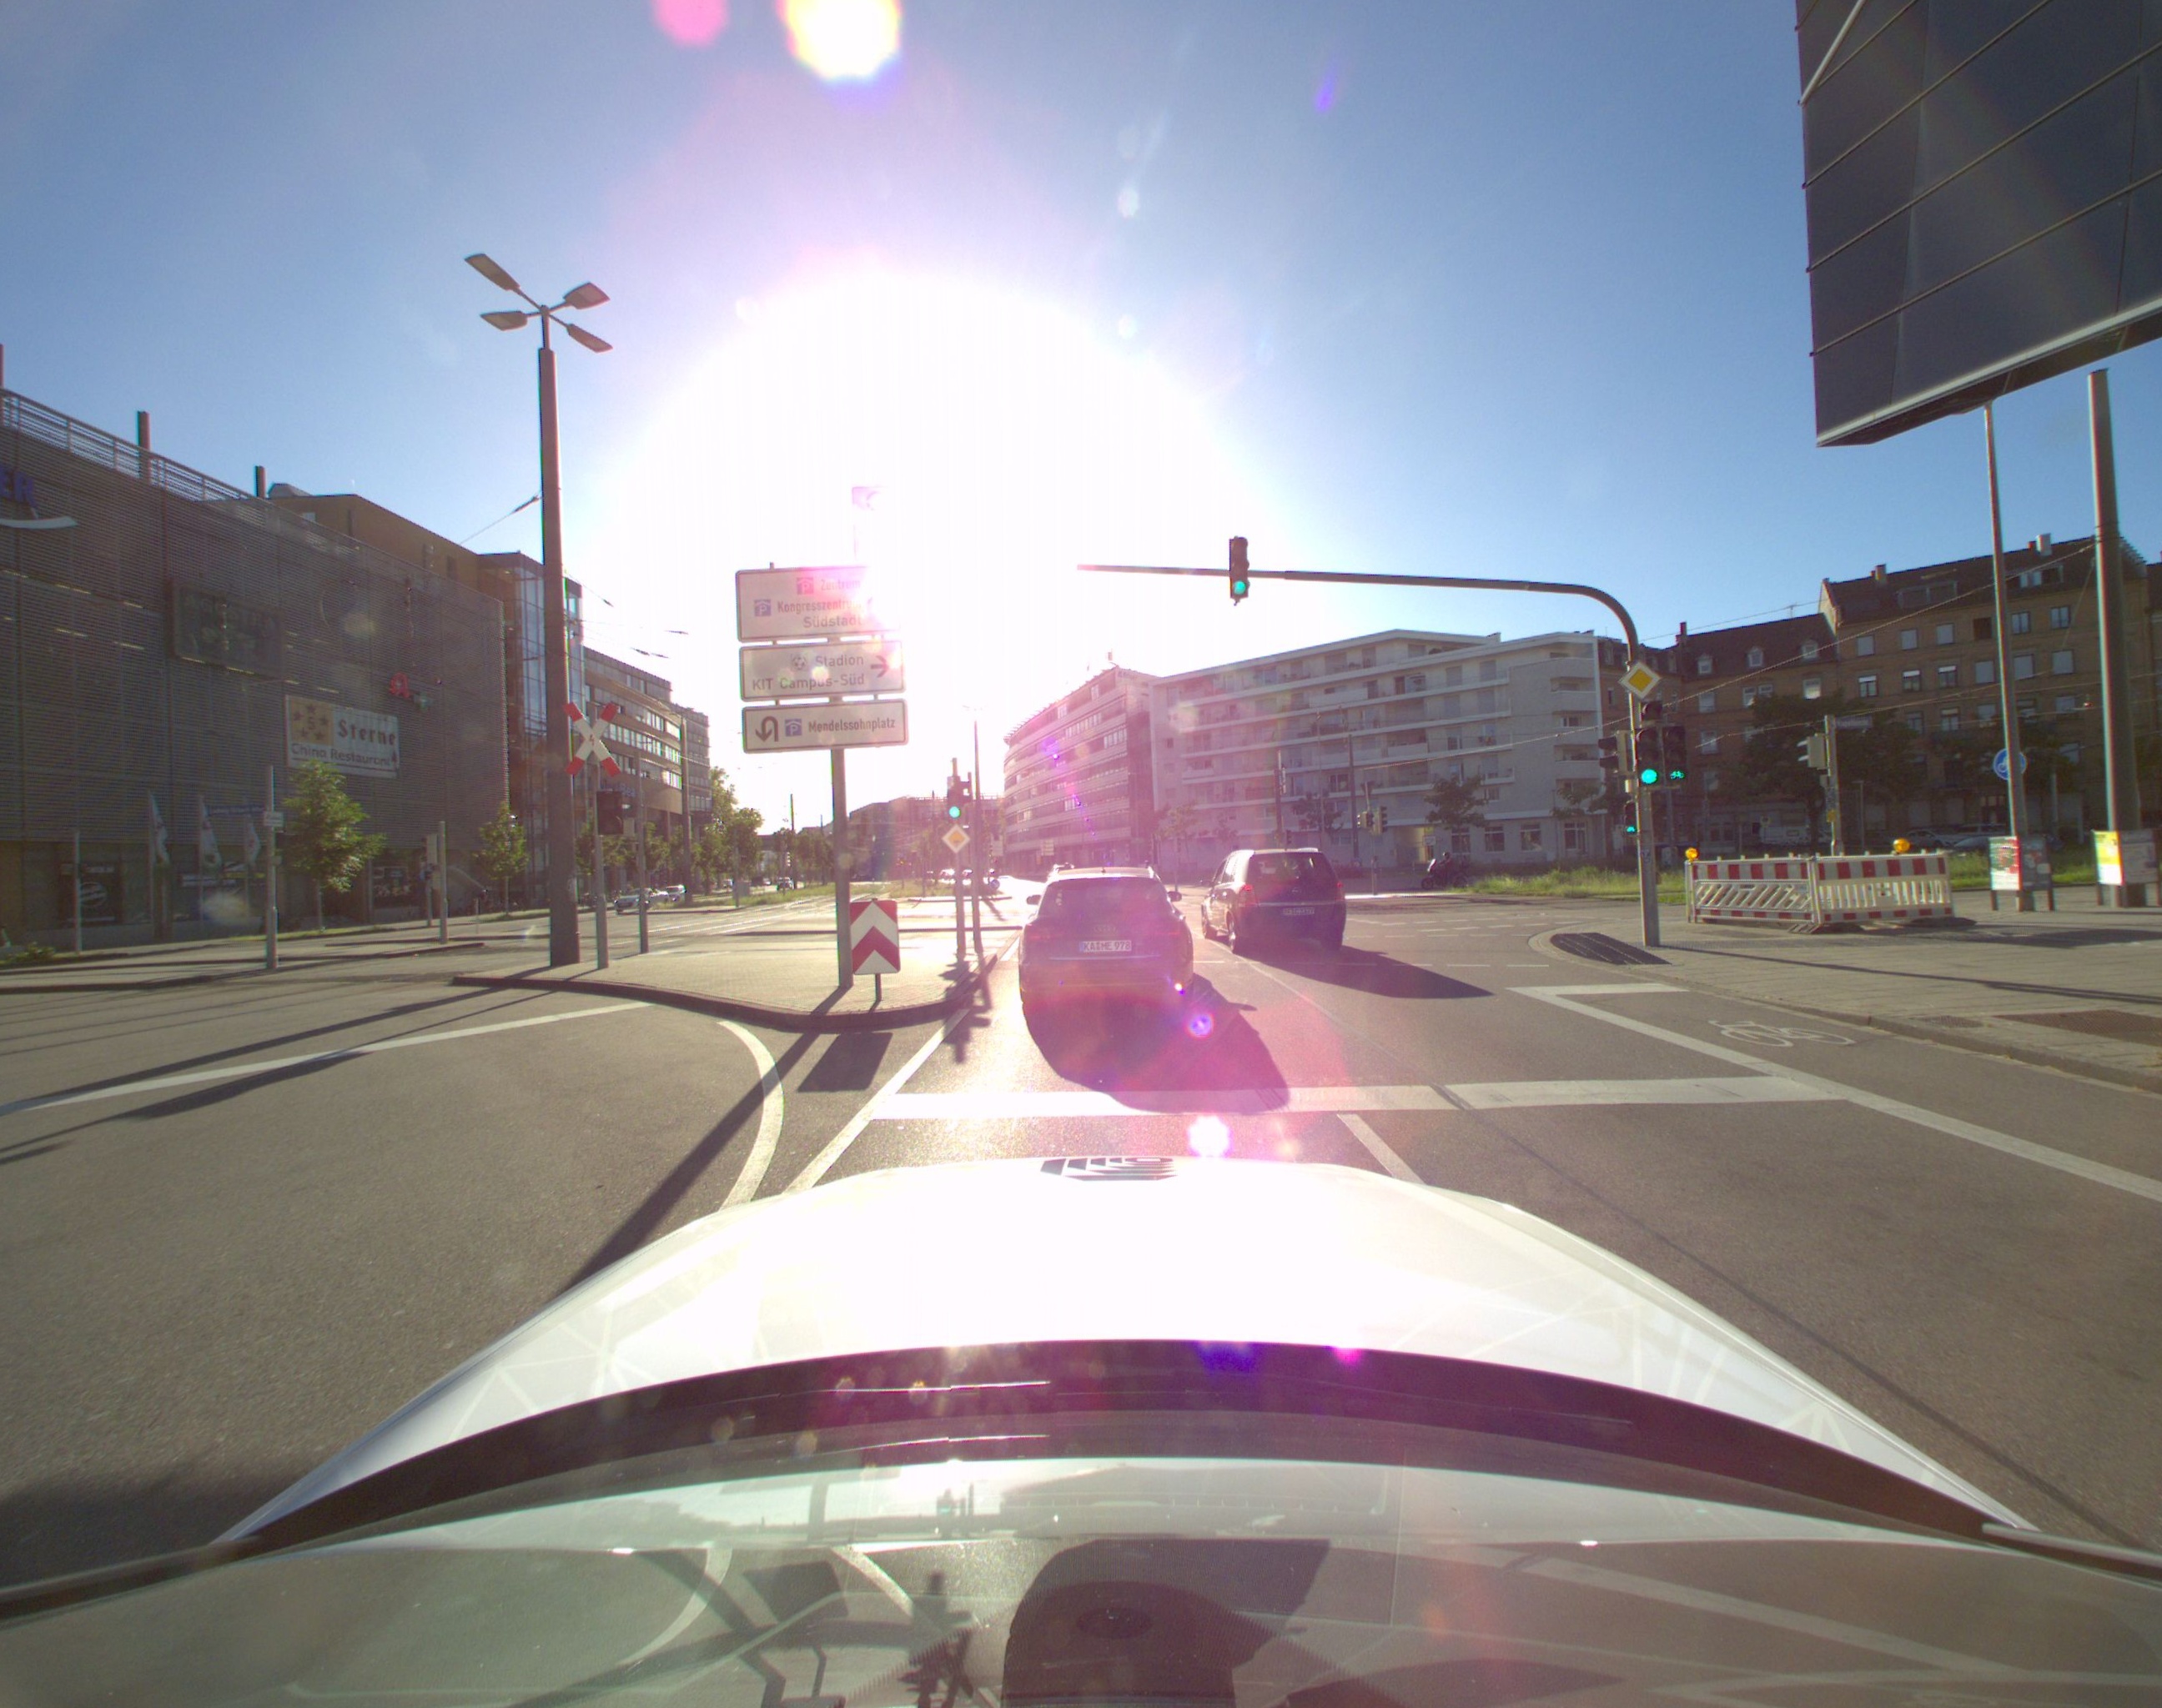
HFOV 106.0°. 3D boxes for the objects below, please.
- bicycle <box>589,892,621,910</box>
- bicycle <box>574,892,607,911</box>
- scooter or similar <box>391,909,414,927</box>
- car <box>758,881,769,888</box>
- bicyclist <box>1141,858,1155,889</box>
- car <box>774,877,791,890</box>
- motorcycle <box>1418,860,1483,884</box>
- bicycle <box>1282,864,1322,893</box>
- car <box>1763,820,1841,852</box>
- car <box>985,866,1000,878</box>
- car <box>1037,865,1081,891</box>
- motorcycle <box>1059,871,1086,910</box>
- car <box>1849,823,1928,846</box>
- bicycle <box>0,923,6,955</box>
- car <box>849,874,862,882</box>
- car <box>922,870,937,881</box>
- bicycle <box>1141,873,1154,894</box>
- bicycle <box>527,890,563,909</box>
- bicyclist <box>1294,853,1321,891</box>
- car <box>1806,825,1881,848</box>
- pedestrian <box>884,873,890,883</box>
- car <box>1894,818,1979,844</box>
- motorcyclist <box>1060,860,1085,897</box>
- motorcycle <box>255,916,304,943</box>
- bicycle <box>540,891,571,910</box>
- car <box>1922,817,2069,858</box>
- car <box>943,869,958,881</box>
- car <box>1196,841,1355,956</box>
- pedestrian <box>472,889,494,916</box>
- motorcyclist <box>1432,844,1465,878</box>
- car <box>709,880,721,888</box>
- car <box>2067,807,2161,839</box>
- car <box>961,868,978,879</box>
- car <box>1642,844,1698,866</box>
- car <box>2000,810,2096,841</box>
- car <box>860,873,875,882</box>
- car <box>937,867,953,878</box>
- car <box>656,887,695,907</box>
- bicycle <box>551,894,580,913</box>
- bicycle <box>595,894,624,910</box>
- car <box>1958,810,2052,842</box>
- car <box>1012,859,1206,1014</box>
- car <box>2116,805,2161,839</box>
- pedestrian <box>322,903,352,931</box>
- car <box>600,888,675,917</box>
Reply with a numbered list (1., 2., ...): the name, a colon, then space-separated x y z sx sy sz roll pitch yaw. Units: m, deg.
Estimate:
1. bicycle: -43.849 4.331 75.018 2.546 1.433 0.907 -4 -2 10
2. bicycle: -43.588 4.222 72.388 2.546 1.433 0.907 -4 -2 10
3. scooter or similar: -43.026 4.051 51.641 0.419 1.110 1.152 -4 -2 2
4. car: -76.217 7.298 195.263 2.005 1.684 3.964 -3 -1 -27
5. bicyclist: 3.636 1.053 43.993 0.651 1.642 0.973 -3 -1 5
6. car: -40.596 3.954 110.664 2.000 1.640 4.383 -2 -1 -19
7. motorcycle: 16.949 0.823 37.401 2.444 1.000 1.172 -3 -1 1
8. bicycle: 10.400 1.160 38.378 0.768 1.262 2.068 -2 -1 -19
9. car: 58.414 -1.415 66.079 4.543 2.311 2.013 -3 -1 40
10. car: -15.278 3.115 140.444 1.996 1.838 3.981 -3 -2 -13
11. car: -1.643 1.694 58.718 2.008 1.715 4.345 -1 0 -18
12. motorcycle: -0.338 1.347 30.459 0.861 1.393 1.891 -2 -1 -3
13. car: 56.244 -1.314 56.836 1.981 1.354 4.012 -4 -2 11
14. bicycle: -42.021 3.263 30.258 0.796 1.220 2.418 -3 -1 5
15. car: -55.599 5.943 200.958 2.007 1.640 4.366 -2 -1 -32
16. car: -25.378 3.572 136.047 1.998 1.706 3.977 -3 -2 -16
17. bicycle: 3.620 1.560 43.988 0.651 1.043 1.932 -3 0 5
18. bicycle: -43.972 3.714 66.814 2.355 1.433 1.079 -4 -2 10
19. bicyclist: 10.543 0.856 37.956 0.768 1.706 0.924 -2 -1 -20
20. car: 54.035 -1.231 57.834 1.981 1.354 4.012 -4 -2 11
21. pedestrian: -34.078 4.235 143.276 0.904 1.824 0.825 -3 -2 -15
22. car: 58.349 -1.516 55.628 1.981 1.486 4.012 -4 -2 11
23. motorcyclist: -0.313 0.919 30.519 0.861 1.326 0.680 -2 -1 -4
24. motorcycle: -41.938 3.950 42.637 0.673 1.238 1.894 -3 -2 1
25. bicycle: -43.765 3.848 67.879 2.070 1.433 0.863 -4 -2 10
26. car: 38.892 -0.688 34.704 4.229 1.401 1.768 -3 -4 -2
27. car: -20.931 3.379 130.564 1.996 1.596 3.981 -3 -2 -13
28. car: 3.183 0.693 14.196 1.740 1.696 4.259 0 -1 0
29. pedestrian: -42.374 3.419 57.721 0.823 1.824 0.905 -4 -2 3
30. motorcyclist: 16.879 0.319 37.408 0.921 1.481 1.172 -3 -1 1
31. car: -96.212 7.880 213.871 2.010 2.013 3.954 -3 0 -37
32. car: 67.919 -2.022 53.399 1.981 1.772 4.012 -4 -2 11
33. car: -17.506 3.031 128.147 1.998 1.596 3.976 -3 -2 -17
34. car: 46.741 0.088 64.636 4.010 1.486 1.982 -3 -2 -28
35. car: 64.267 -1.850 54.240 1.980 1.772 4.013 -4 -2 12
36. car: -47.160 5.205 180.111 1.985 1.706 4.003 -3 -2 3
37. car: -22.802 3.117 136.316 1.998 1.706 3.977 -3 -2 -16
38. car: -34.444 3.615 69.308 1.896 1.407 3.983 -3 0 -12
39. bicycle: -43.667 4.177 68.978 1.965 1.433 0.809 -4 -2 10
40. bicycle: -47.179 4.838 81.530 2.591 1.433 0.773 -4 -2 10
41. car: 60.949 -1.824 53.819 1.981 1.772 4.012 -4 -2 11
42. car: 0.319 0.800 9.792 1.835 1.454 4.001 -1 0 1
43. car: 73.919 -2.239 55.081 4.354 2.190 2.013 -5 -2 36
44. pedestrian: -44.405 3.760 48.601 0.984 1.566 0.829 -4 -2 1
45. car: -27.949 3.021 51.502 1.985 1.546 4.533 -3 -1 3
